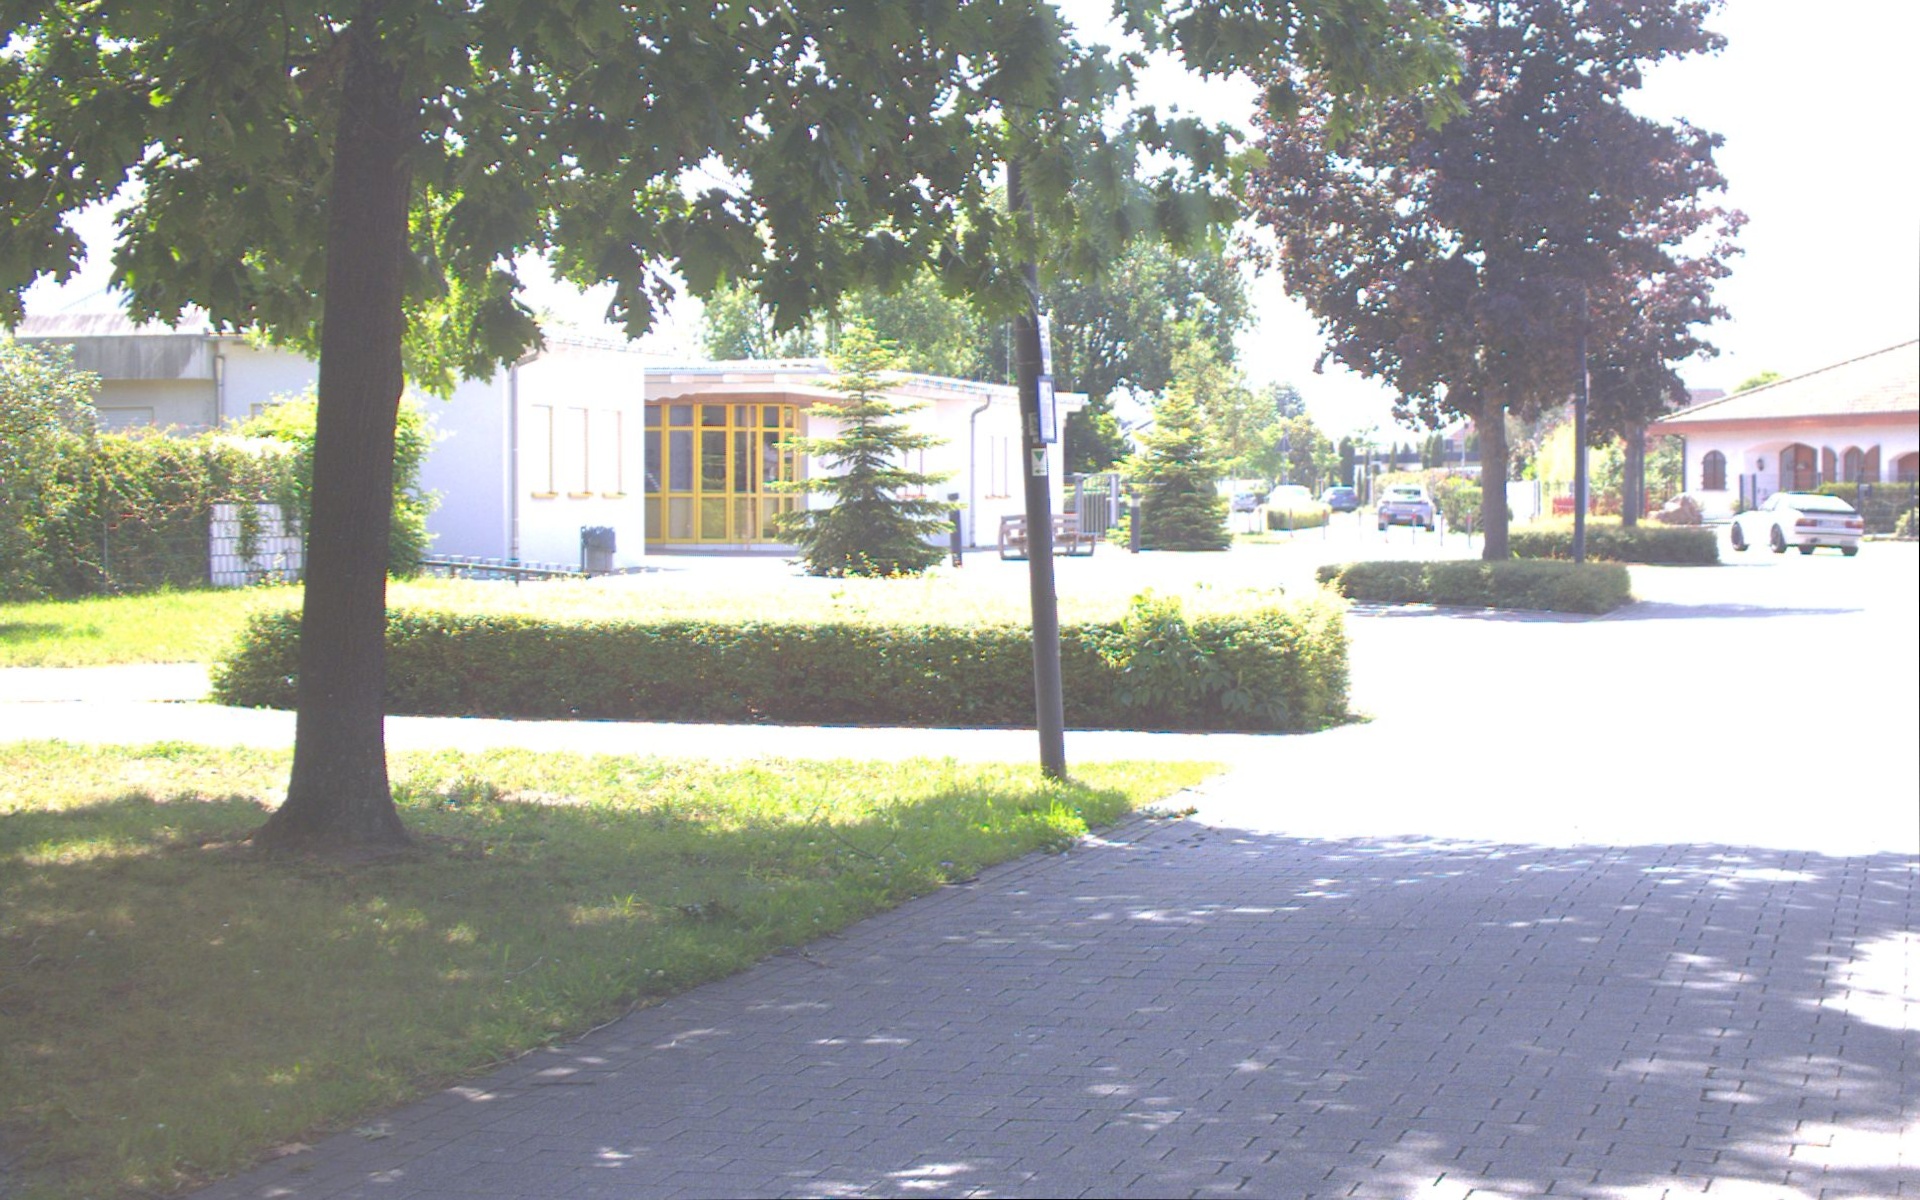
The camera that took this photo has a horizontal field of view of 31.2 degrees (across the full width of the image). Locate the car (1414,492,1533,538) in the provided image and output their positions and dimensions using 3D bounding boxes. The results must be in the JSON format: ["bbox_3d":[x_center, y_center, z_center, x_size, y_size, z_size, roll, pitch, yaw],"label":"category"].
[{"bbox_3d":[14.808,-2.462,99.354,1.993,1.283,4.002,0,2,-14],"label":"car"}]

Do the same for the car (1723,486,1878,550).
[{"bbox_3d":[17.417,-1.720,71.414,1.614,1.284,3.558,0,2,-15],"label":"car"}]

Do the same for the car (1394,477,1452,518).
[{"bbox_3d":[14.614,-3.234,108.424,1.615,1.284,3.555,1,2,10],"label":"car"}]
